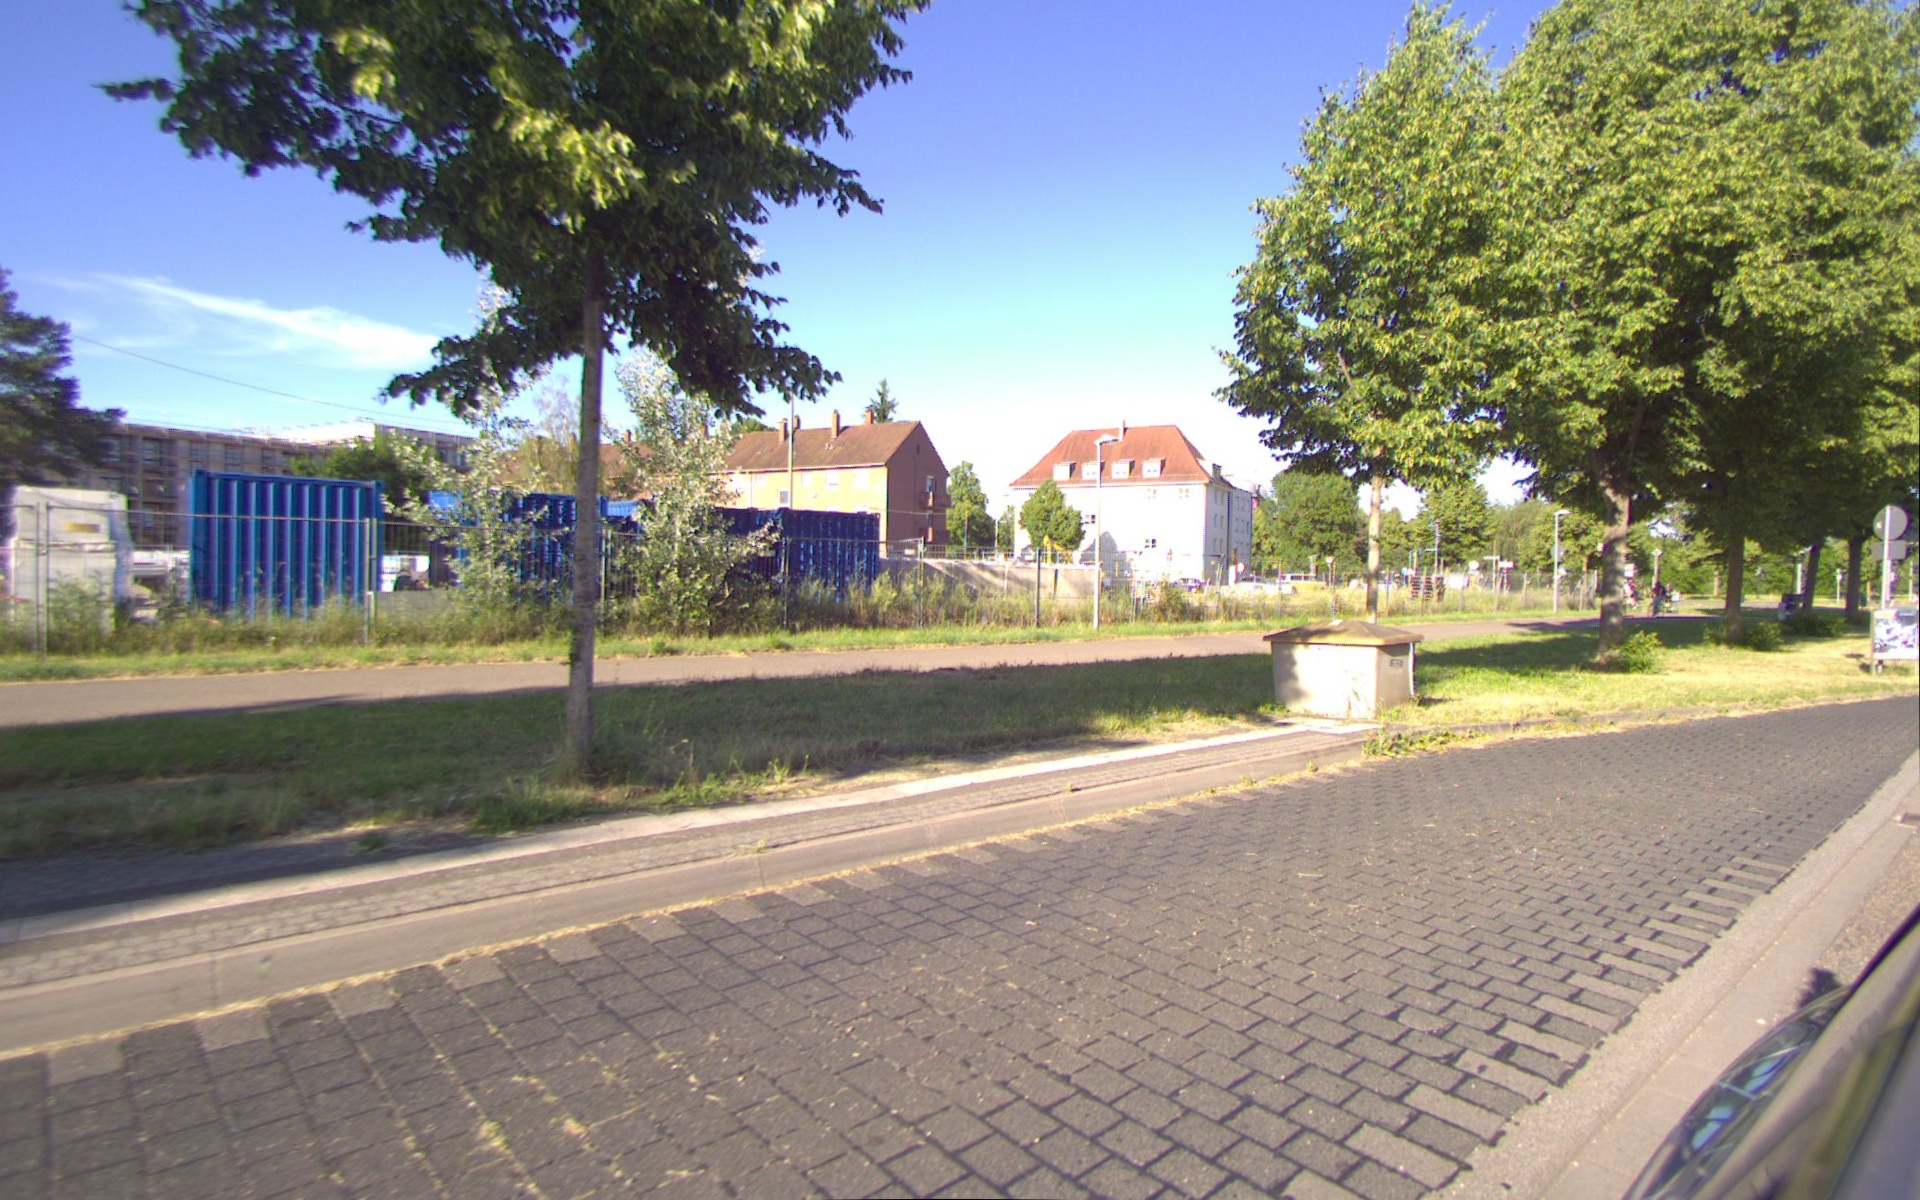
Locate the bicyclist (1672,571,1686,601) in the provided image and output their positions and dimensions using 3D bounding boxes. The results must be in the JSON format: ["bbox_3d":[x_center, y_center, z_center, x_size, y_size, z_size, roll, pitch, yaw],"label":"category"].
[{"bbox_3d":[37.425,-0.723,52.674,0.468,1.504,0.906,0,2,30],"label":"bicyclist"}]

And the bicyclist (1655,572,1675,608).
[{"bbox_3d":[30.213,-0.430,43.359,0.819,1.491,0.504,-1,2,-41],"label":"bicyclist"}]

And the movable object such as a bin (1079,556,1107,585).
[{"bbox_3d":[9.815,-2.194,74.577,2.033,2.038,1.996,0,2,8],"label":"movable object such as a bin"}]

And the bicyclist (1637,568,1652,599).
[{"bbox_3d":[35.806,-0.864,52.958,0.590,1.606,0.953,1,2,37],"label":"bicyclist"}]

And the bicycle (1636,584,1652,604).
[{"bbox_3d":[35.839,-0.305,53.018,0.590,0.972,1.876,1,3,37],"label":"bicycle"}]

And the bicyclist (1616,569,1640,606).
[{"bbox_3d":[28.947,-0.540,43.869,0.781,1.572,0.654,-1,2,-40],"label":"bicyclist"}]

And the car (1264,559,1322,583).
[{"bbox_3d":[29.088,-2.535,88.446,4.382,2.038,2.003,0,2,-7],"label":"car"}]

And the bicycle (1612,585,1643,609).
[{"bbox_3d":[28.942,-0.131,43.888,1.788,1.024,0.656,-1,2,-41],"label":"bicycle"}]

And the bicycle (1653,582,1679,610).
[{"bbox_3d":[30.275,-0.183,43.411,1.576,1.166,0.507,0,2,-41],"label":"bicycle"}]

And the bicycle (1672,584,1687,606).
[{"bbox_3d":[37.446,-0.287,52.711,0.475,1.095,1.627,0,2,30],"label":"bicycle"}]
